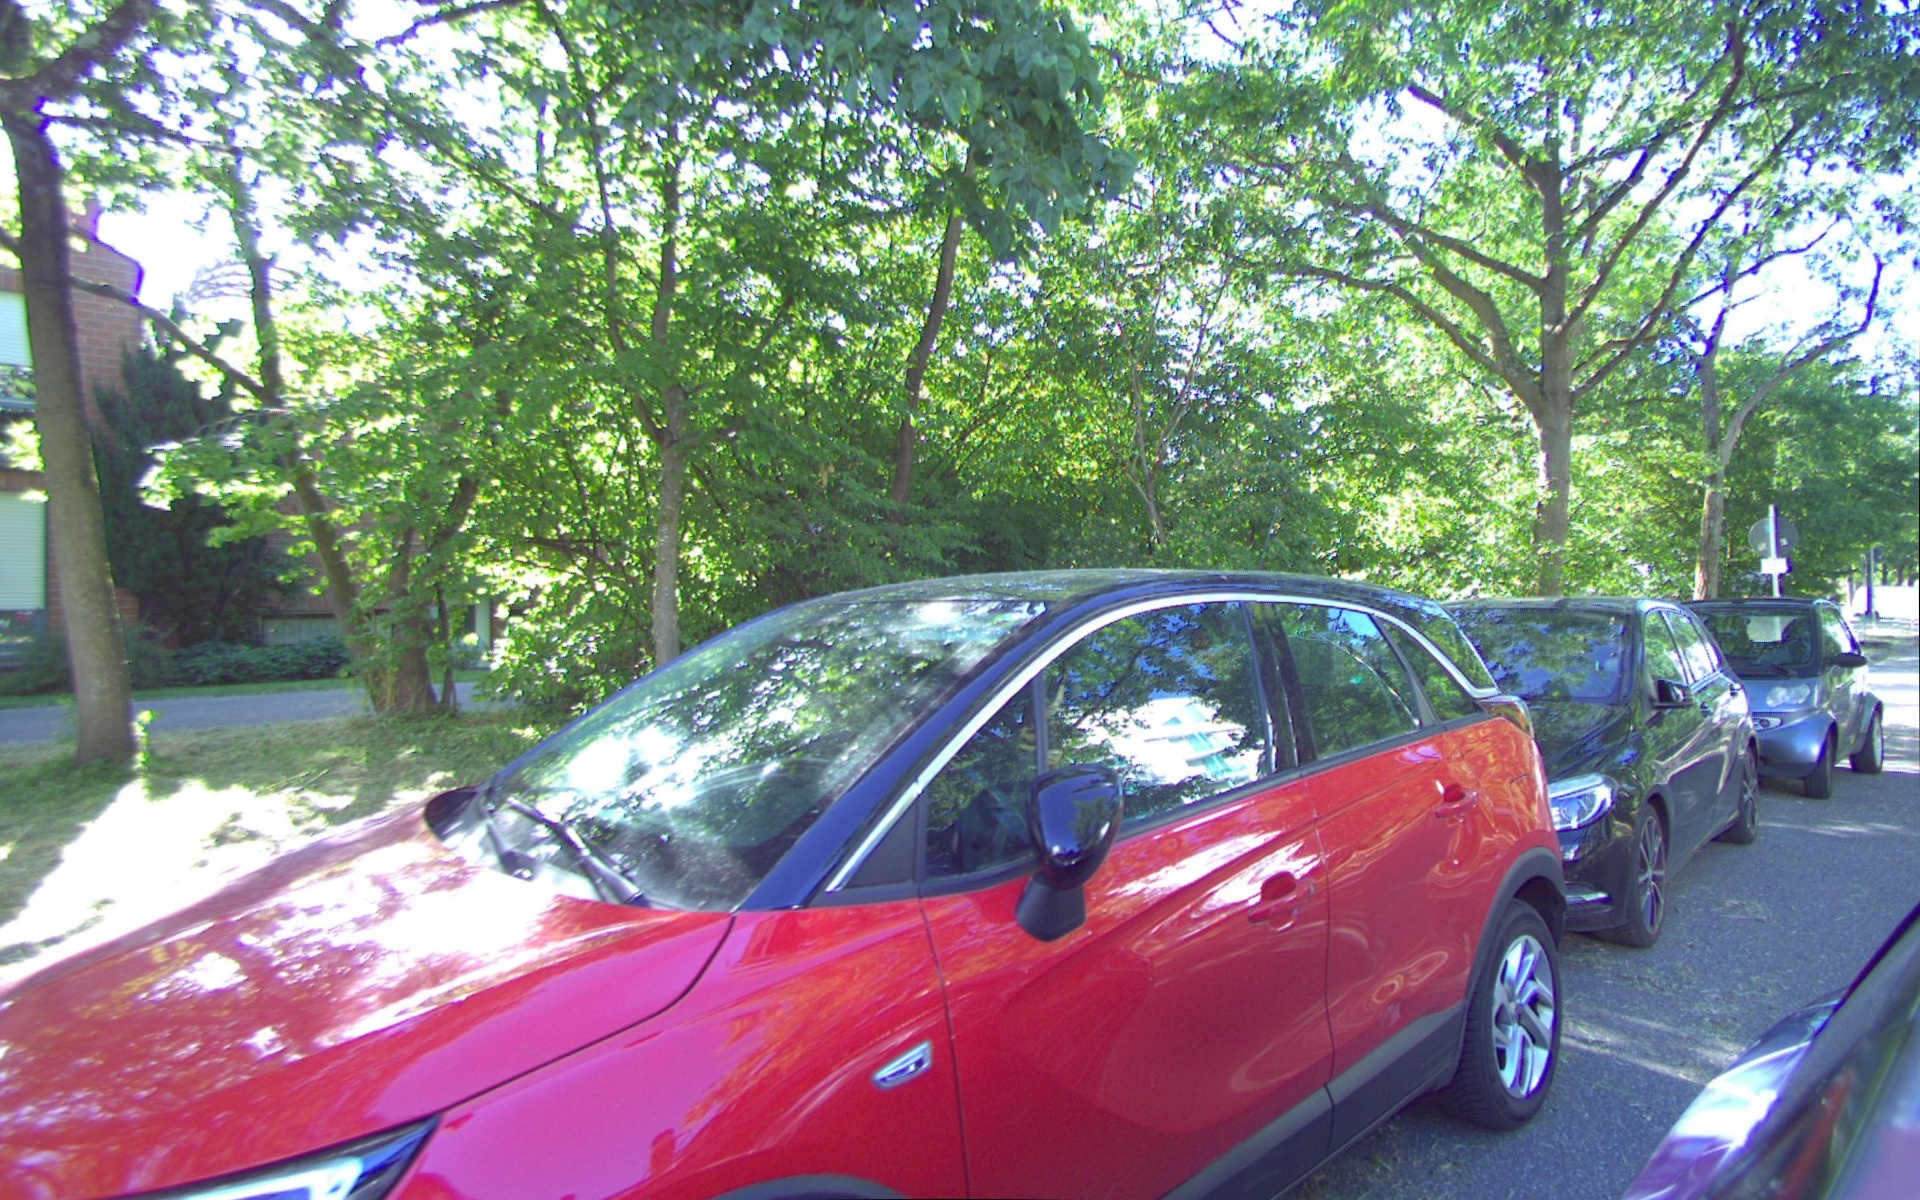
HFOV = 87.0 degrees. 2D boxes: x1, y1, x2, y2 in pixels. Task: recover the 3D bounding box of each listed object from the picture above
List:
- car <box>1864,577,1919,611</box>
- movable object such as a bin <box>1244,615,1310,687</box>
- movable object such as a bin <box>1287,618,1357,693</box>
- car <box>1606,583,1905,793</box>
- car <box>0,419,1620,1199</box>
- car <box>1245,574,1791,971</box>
[{"bbox_3d":[57.507,-0.344,60.317,1.966,2.030,5.262,0,1,-43],"label":"car"},{"bbox_3d":[4.420,0.697,14.133,0.454,0.891,0.728,-7,6,-35],"label":"movable object such as a bin"},{"bbox_3d":[4.837,0.727,13.523,0.454,0.891,0.728,-7,6,-35],"label":"movable object such as a bin"},{"bbox_3d":[6.954,0.641,8.799,2.629,1.528,1.497,0,-1,-39],"label":"car"},{"bbox_3d":[0.062,0.650,2.607,3.995,1.594,1.681,0,-1,-41],"label":"car"},{"bbox_3d":[3.505,0.662,5.965,4.081,1.528,1.713,0,0,-44],"label":"car"}]
